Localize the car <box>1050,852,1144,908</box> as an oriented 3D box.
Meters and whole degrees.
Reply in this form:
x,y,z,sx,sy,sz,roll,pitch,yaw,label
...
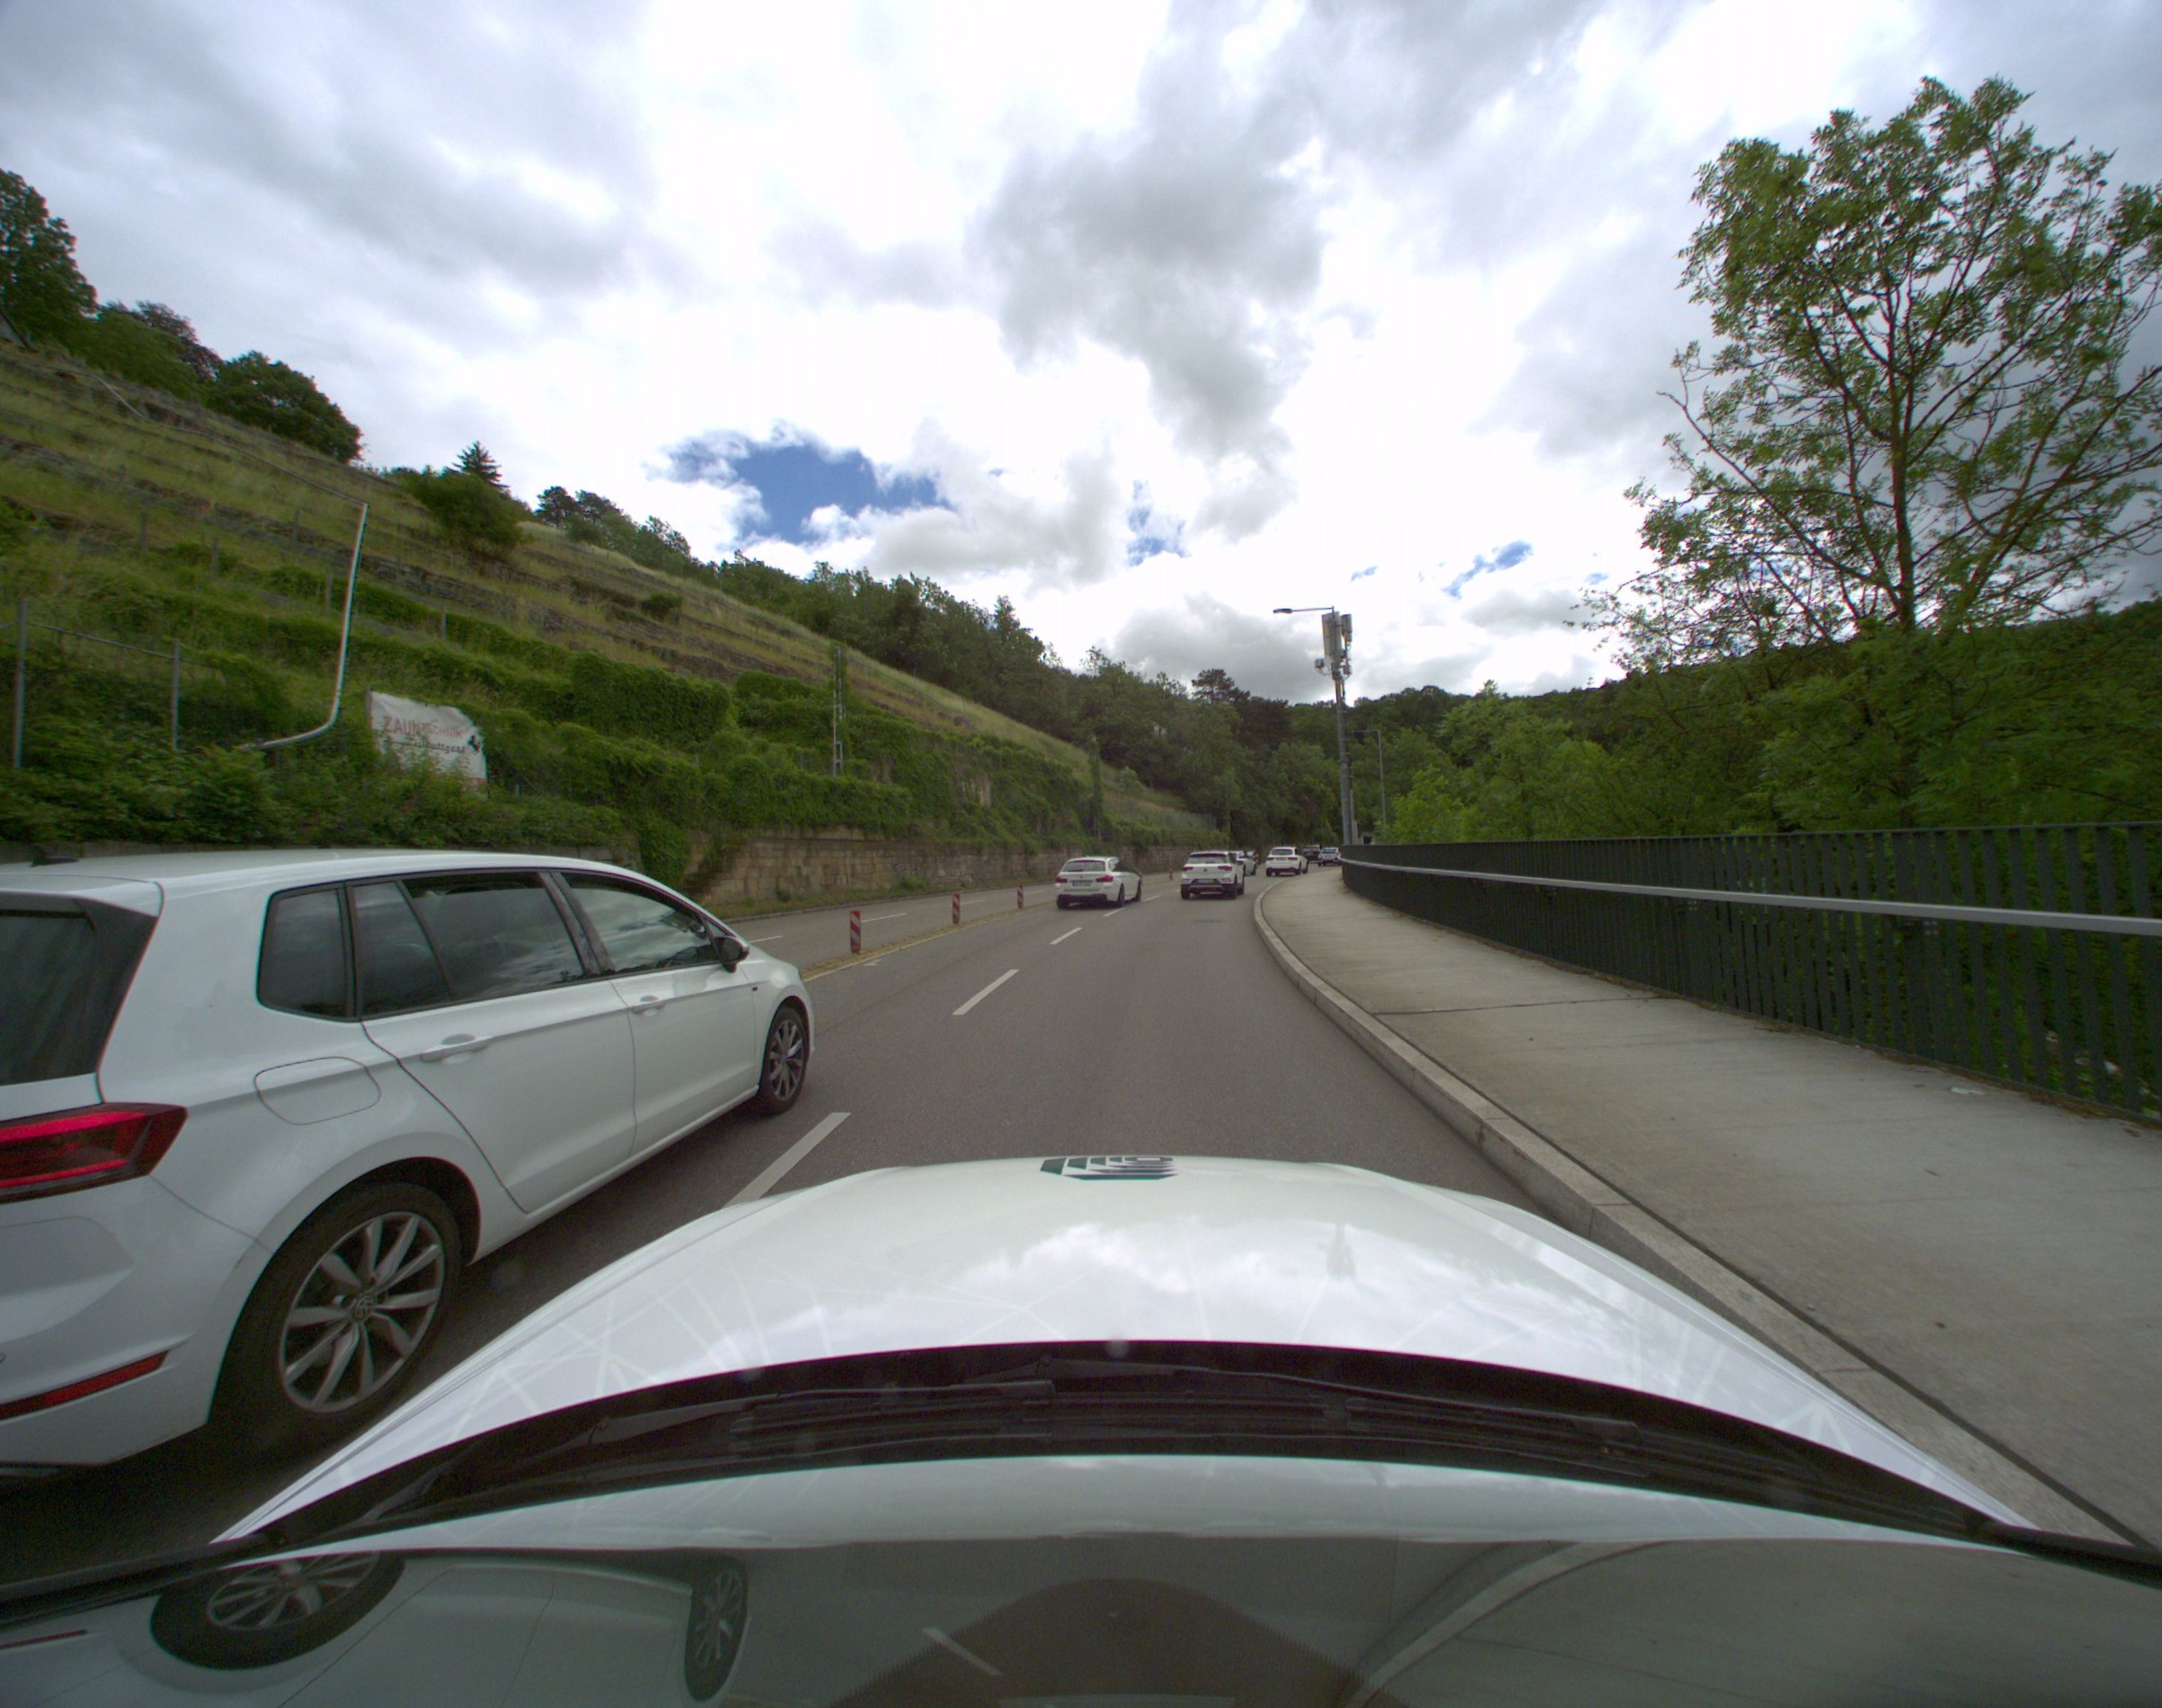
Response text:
x,y,z,sx,sy,sz,roll,pitch,yaw,label
0.584,0.701,24.207,1.815,1.459,4.503,-1,0,14,car

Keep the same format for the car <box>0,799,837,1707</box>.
x,y,z,sx,sy,sz,roll,pitch,yaw,label
-2.694,0.715,3.438,1.813,1.580,4.359,-1,0,3,car

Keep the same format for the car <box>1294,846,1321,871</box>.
x,y,z,sx,sy,sz,roll,pitch,yaw,label
20.708,0.381,74.303,1.977,2.013,4.020,-5,-1,19,car

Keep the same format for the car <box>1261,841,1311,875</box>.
x,y,z,sx,sy,sz,roll,pitch,yaw,label
11.646,0.205,46.053,1.976,1.718,4.136,-4,-2,23,car

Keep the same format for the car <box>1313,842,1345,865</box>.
x,y,z,sx,sy,sz,roll,pitch,yaw,label
19.791,-0.024,64.868,1.976,1.717,4.022,-2,0,22,car

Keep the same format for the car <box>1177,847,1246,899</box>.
x,y,z,sx,sy,sz,roll,pitch,yaw,label
4.482,0.581,27.553,1.814,1.606,4.017,-1,0,16,car

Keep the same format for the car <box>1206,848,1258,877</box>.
x,y,z,sx,sy,sz,roll,pitch,yaw,label
8.768,0.452,46.983,1.976,1.503,4.693,-1,1,23,car
